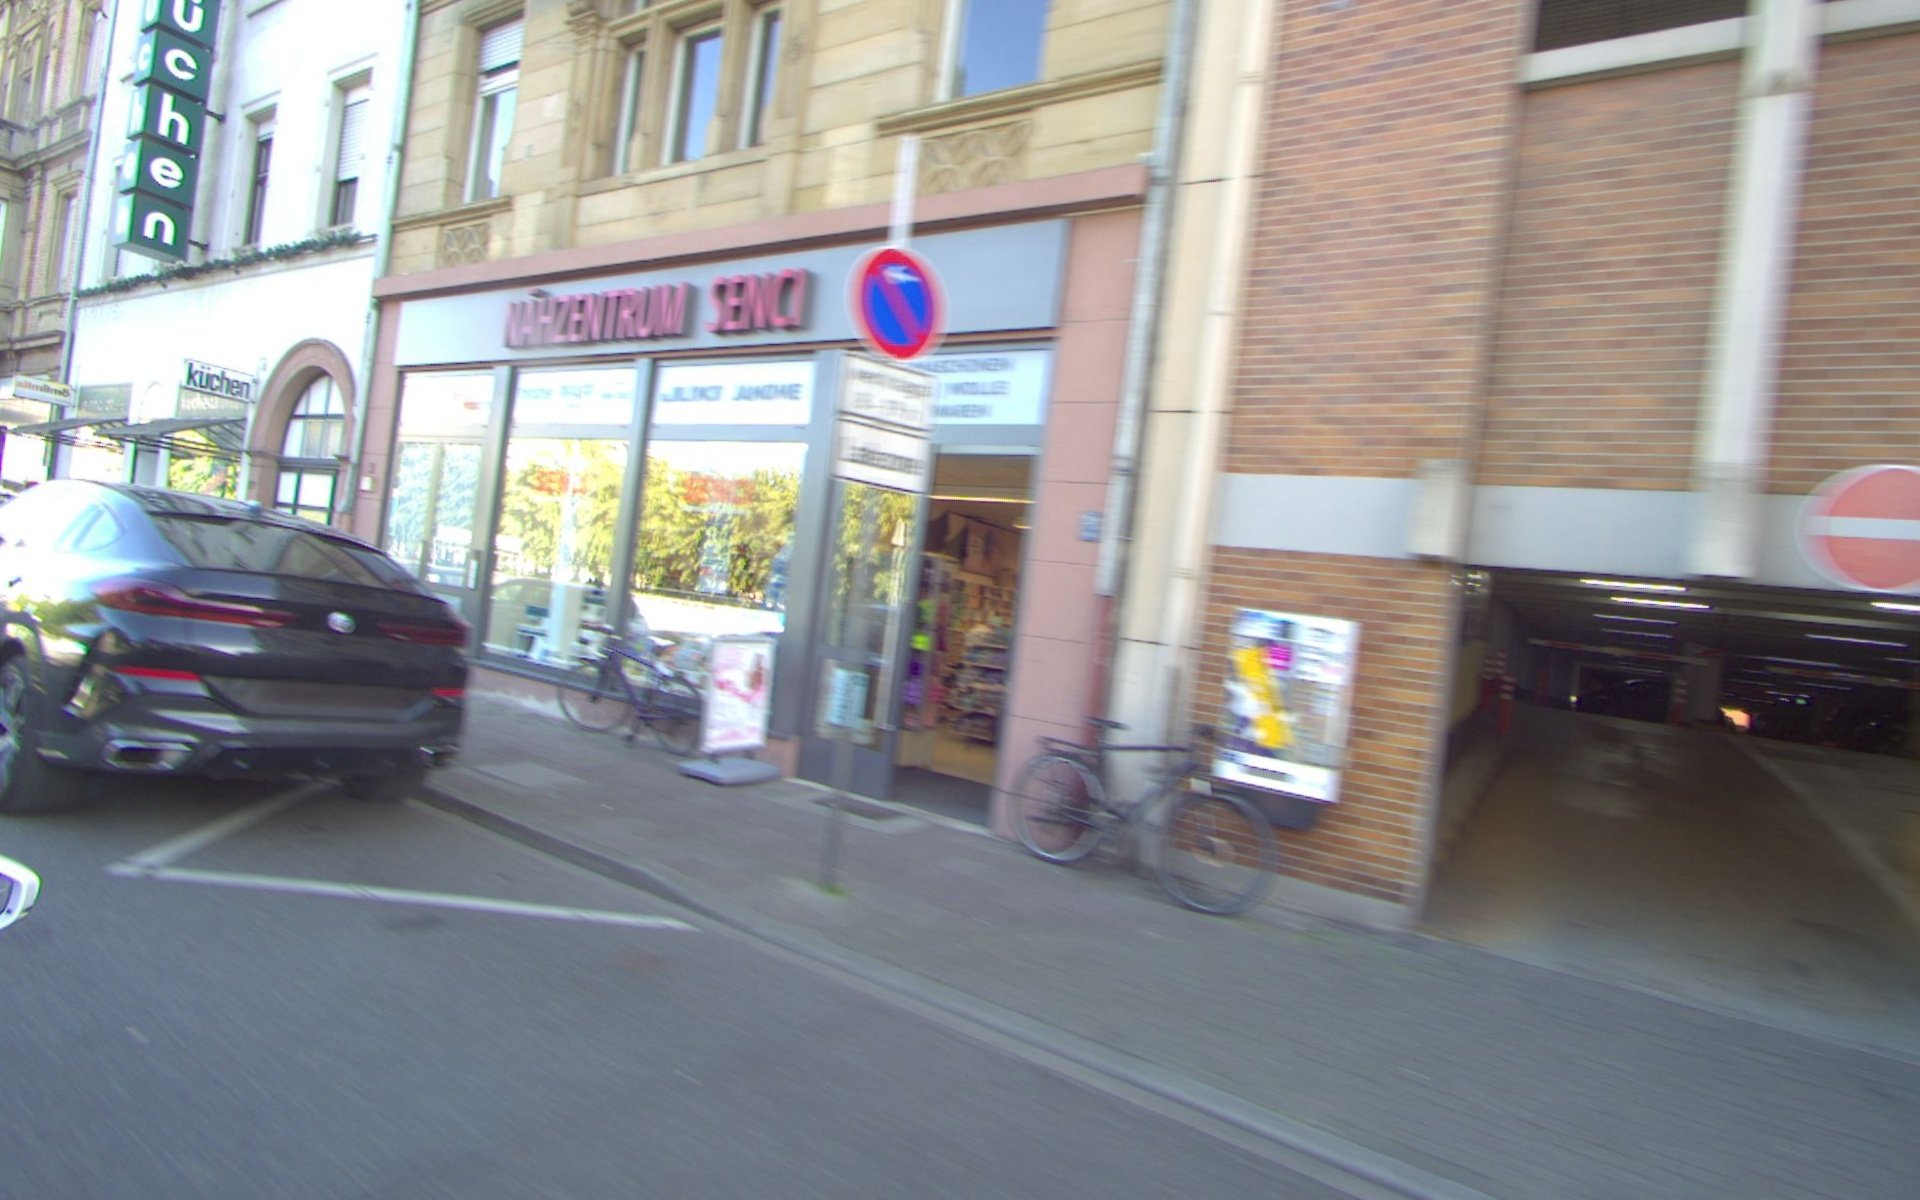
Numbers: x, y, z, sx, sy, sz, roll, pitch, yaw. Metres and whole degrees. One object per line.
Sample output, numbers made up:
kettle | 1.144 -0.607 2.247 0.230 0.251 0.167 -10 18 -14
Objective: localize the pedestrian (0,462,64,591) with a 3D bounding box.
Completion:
pedestrian | -13.773 -1.074 14.809 0.510 1.787 0.620 7 0 36

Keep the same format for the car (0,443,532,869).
car | -5.081 0.100 6.316 4.746 1.745 1.977 8 -2 34

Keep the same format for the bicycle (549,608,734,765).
bicycle | -2.866 0.725 8.939 1.910 1.099 0.358 7 2 33

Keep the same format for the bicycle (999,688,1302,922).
bicycle | 1.138 1.212 6.303 1.762 1.058 0.358 7 2 33

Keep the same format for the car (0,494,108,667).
car | -10.520 -0.424 10.091 4.117 1.504 1.842 8 -2 34

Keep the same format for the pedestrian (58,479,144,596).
pedestrian | -13.278 -0.958 15.558 0.580 1.696 0.800 7 2 36

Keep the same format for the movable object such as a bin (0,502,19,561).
movable object such as a bin | -18.763 -1.358 19.436 0.616 1.110 0.679 8 2 33
